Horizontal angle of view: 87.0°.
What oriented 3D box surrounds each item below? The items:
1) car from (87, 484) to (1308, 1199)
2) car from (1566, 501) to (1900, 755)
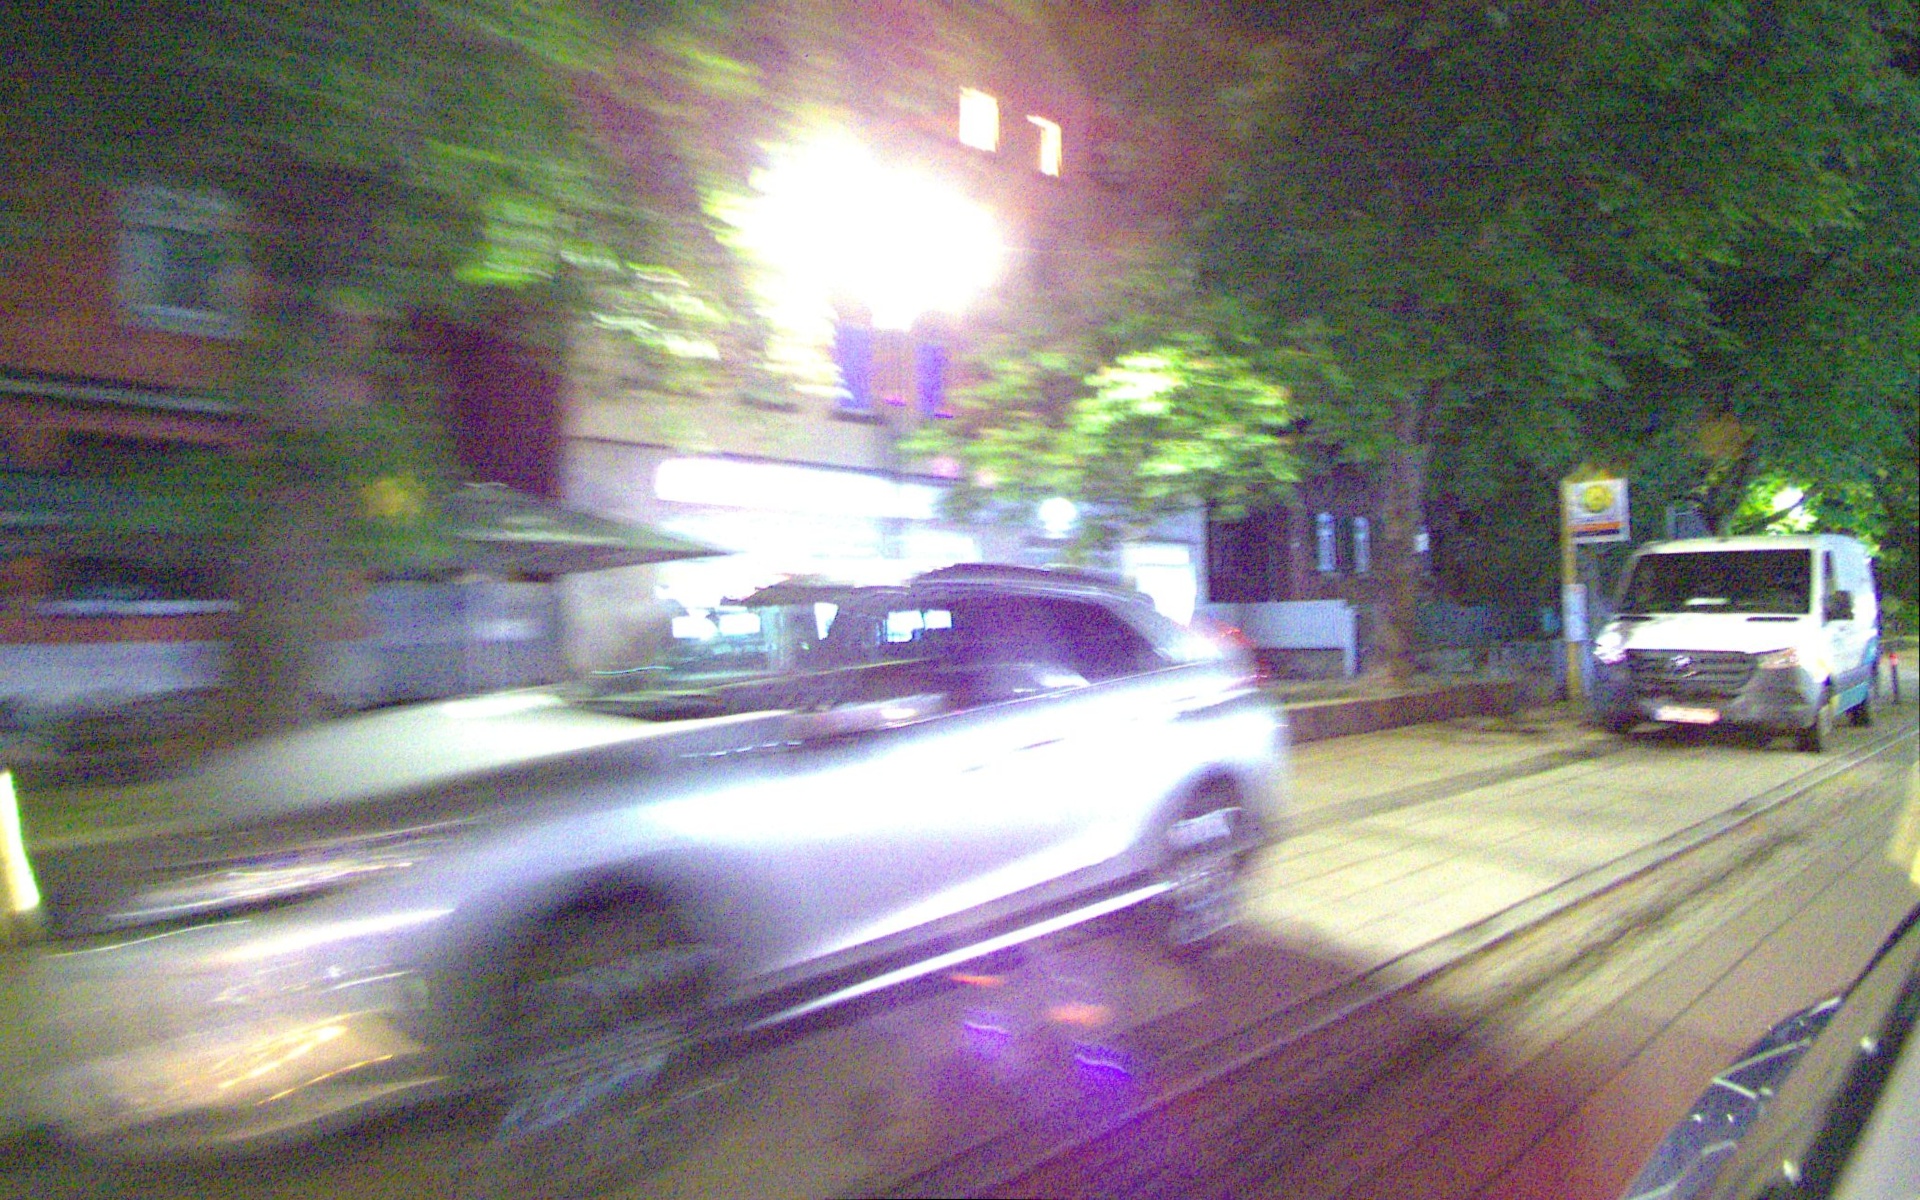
[{"bbox_3d":[-0.551,0.643,3.885,4.222,1.681,1.686,0,-1,-41],"label":"car"},{"bbox_3d":[9.210,0.278,11.878,5.062,2.356,2.137,0,-1,-42],"label":"car"}]
